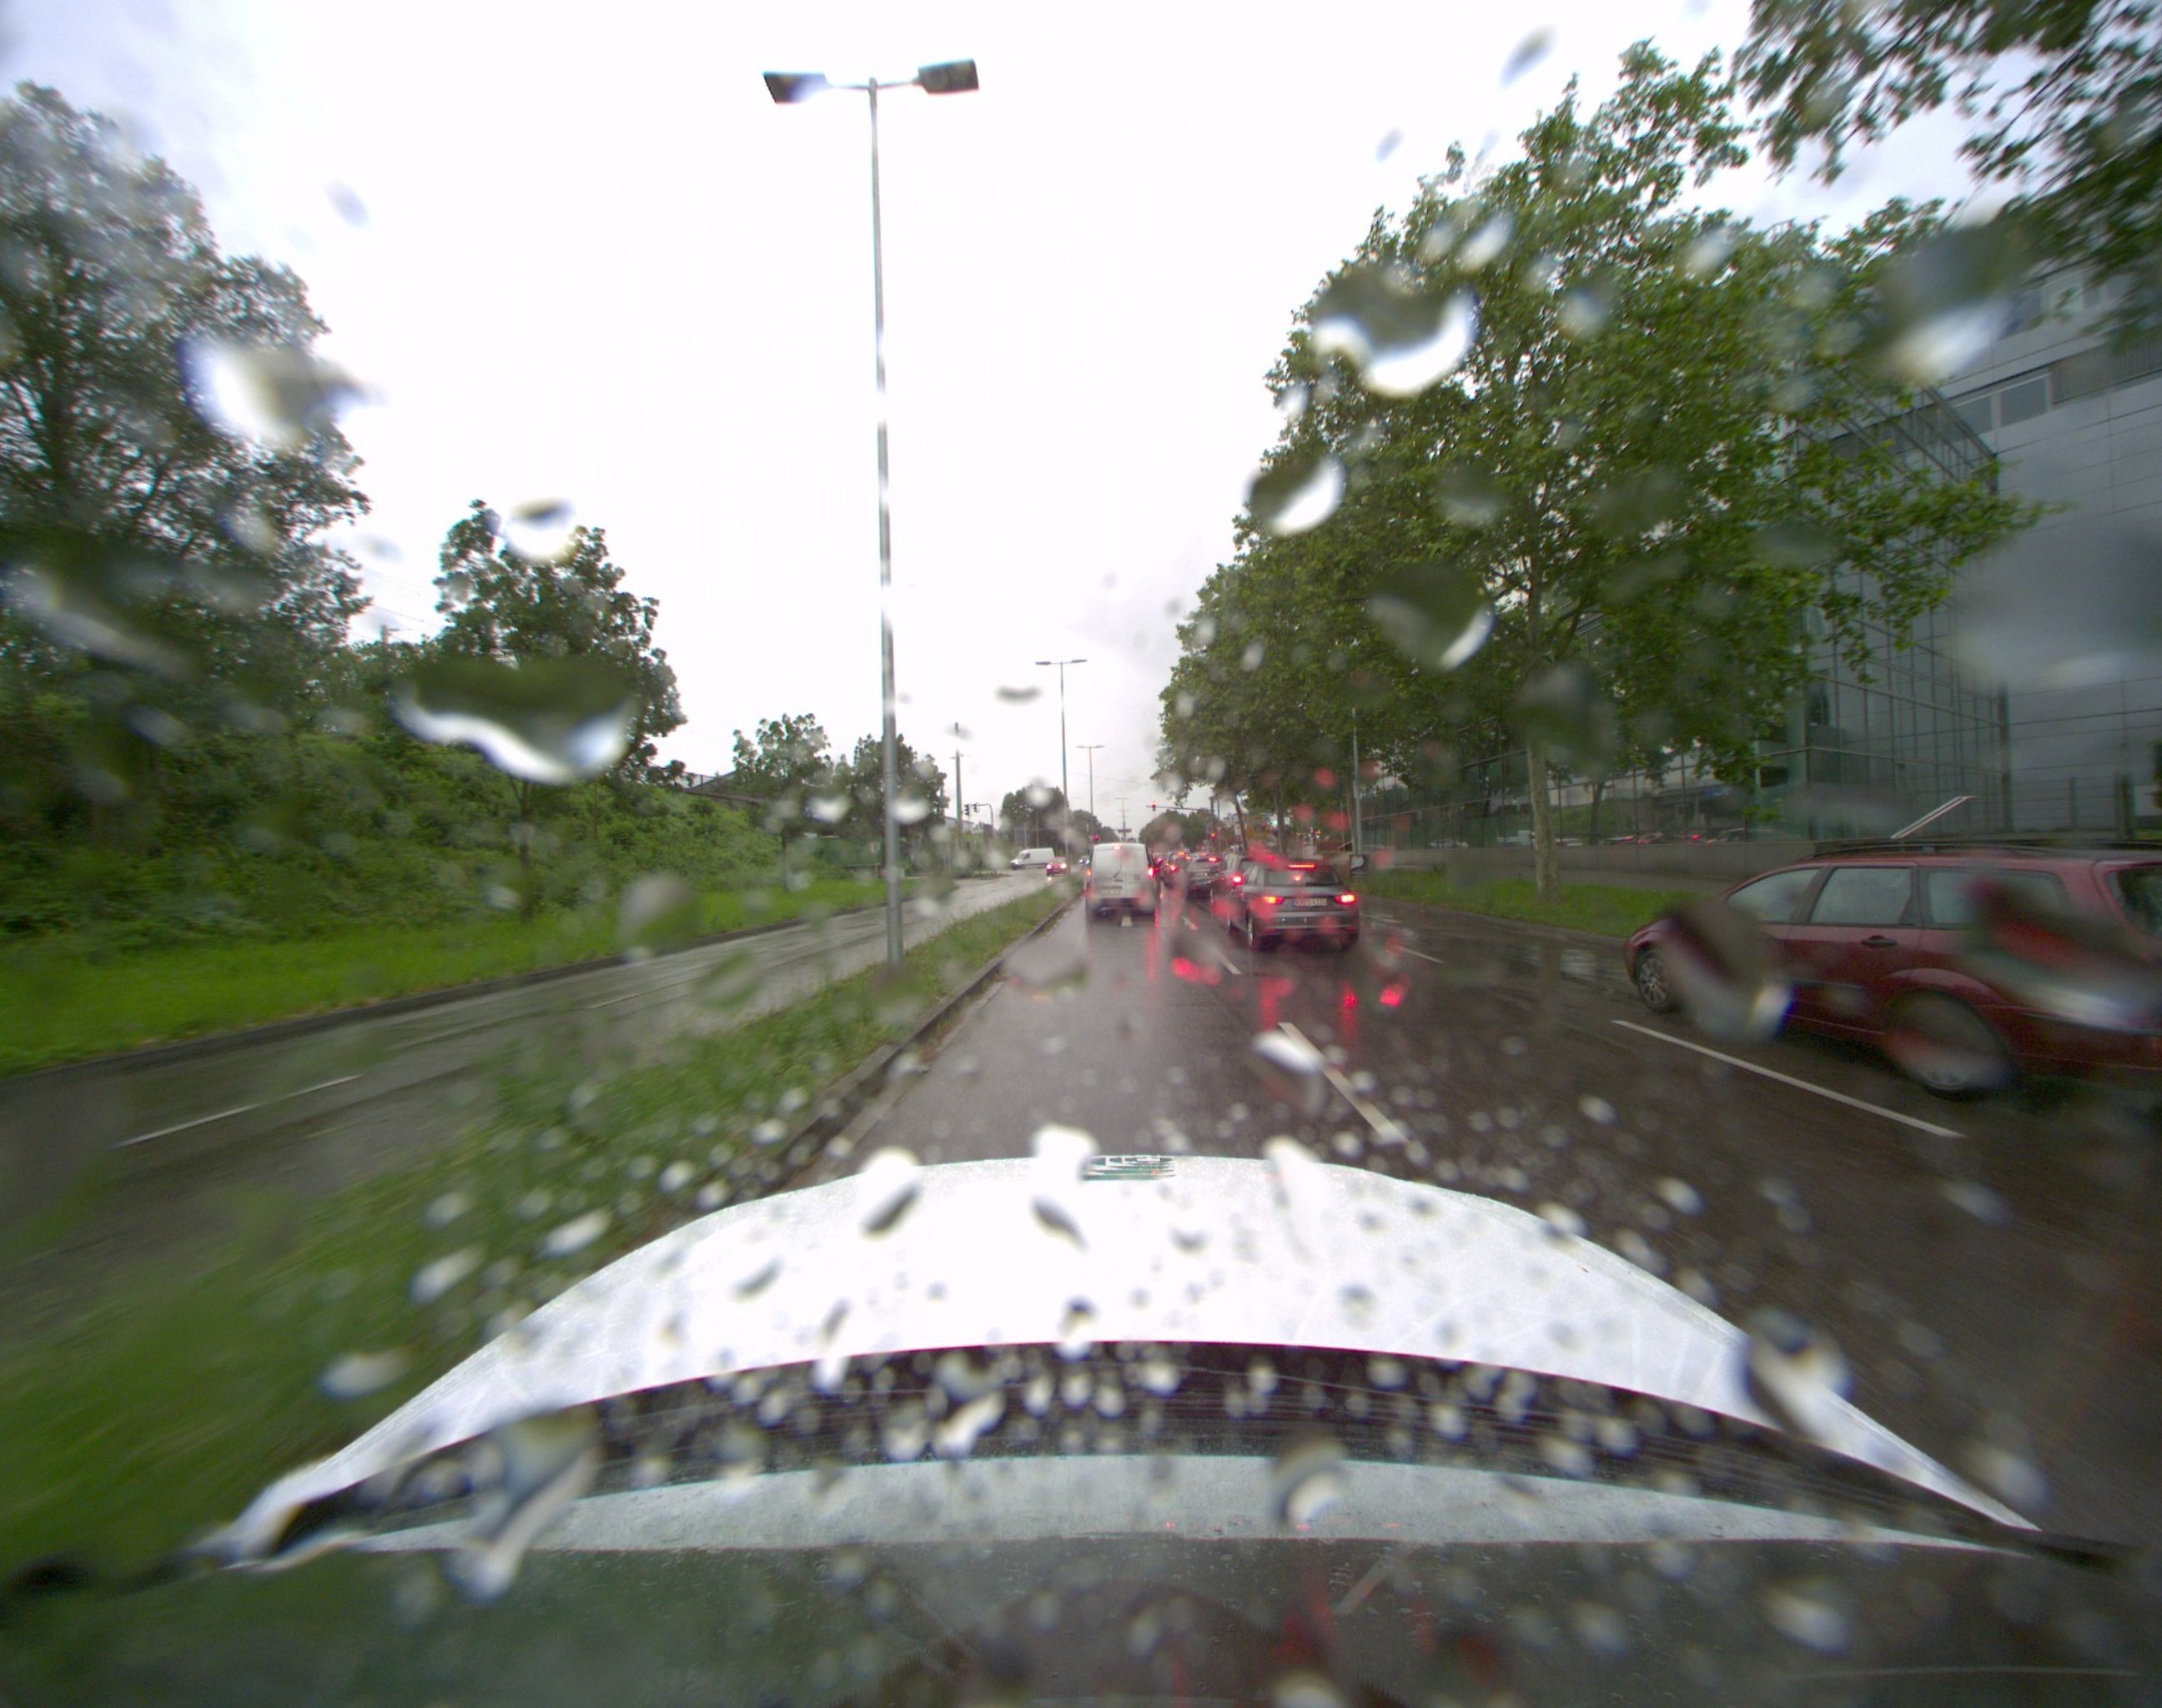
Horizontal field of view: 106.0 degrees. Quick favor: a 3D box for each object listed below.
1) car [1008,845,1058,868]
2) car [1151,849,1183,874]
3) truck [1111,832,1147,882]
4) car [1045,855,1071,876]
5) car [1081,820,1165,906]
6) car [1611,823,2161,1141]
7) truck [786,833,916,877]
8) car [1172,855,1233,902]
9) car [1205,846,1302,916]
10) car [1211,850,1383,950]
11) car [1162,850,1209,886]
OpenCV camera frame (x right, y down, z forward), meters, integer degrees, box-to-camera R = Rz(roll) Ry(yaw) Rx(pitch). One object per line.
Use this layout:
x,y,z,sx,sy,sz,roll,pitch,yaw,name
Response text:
-6.035,0.359,102.149,6.043,2.744,1.979,0,-2,-34,car
5.337,0.433,50.870,1.704,1.445,4.003,-1,0,3,car
2.453,0.174,42.322,1.750,2.466,4.001,-1,-1,1,truck
-1.842,0.928,65.631,1.708,1.513,3.618,-4,0,4,car
1.055,0.275,21.471,1.986,2.014,4.001,-1,-2,1,car
6.089,0.624,5.978,1.832,1.537,4.113,-1,-1,2,car
-19.141,0.103,68.254,10.181,3.452,2.630,0,-2,-34,truck
4.141,0.781,28.221,1.704,1.445,4.003,-1,0,3,car
4.266,0.603,20.713,1.702,1.549,4.001,-1,1,1,car
3.513,0.692,14.066,1.986,1.452,4.001,-1,0,1,car
4.511,0.586,35.643,1.704,1.445,4.003,-1,0,3,car
